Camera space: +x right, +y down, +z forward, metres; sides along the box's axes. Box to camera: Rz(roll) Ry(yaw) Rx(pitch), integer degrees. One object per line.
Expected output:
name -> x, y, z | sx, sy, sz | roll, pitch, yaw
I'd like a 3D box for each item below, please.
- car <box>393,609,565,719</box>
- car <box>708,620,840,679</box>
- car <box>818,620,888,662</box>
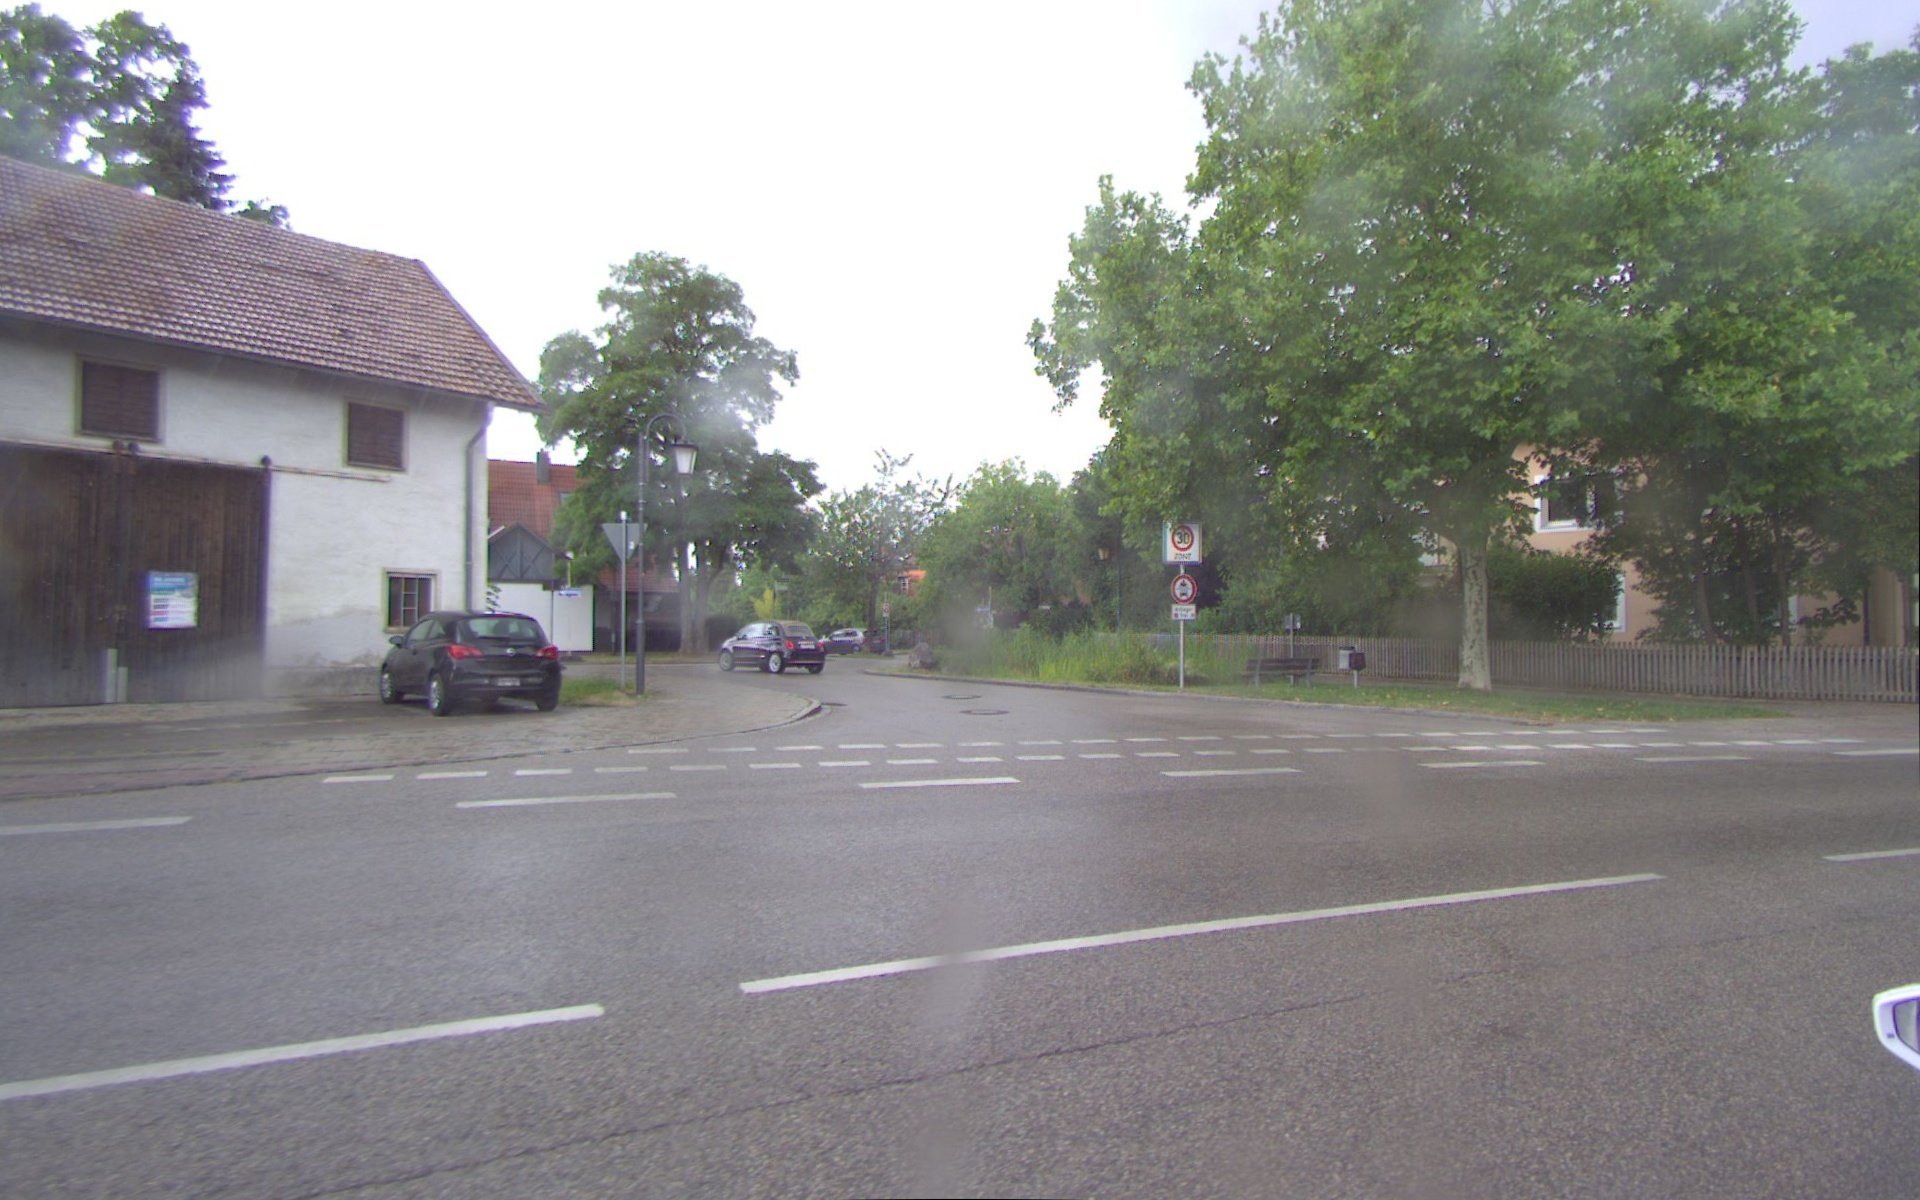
car -> -7.548, 0.897, 15.539 | 1.802, 1.455, 4.241 | 2, -2, -34
car -> -5.499, 1.403, 29.318 | 1.866, 1.569, 4.229 | 2, -2, -42
car -> -5.694, 2.136, 53.234 | 1.981, 2.040, 3.960 | 2, 0, -35
